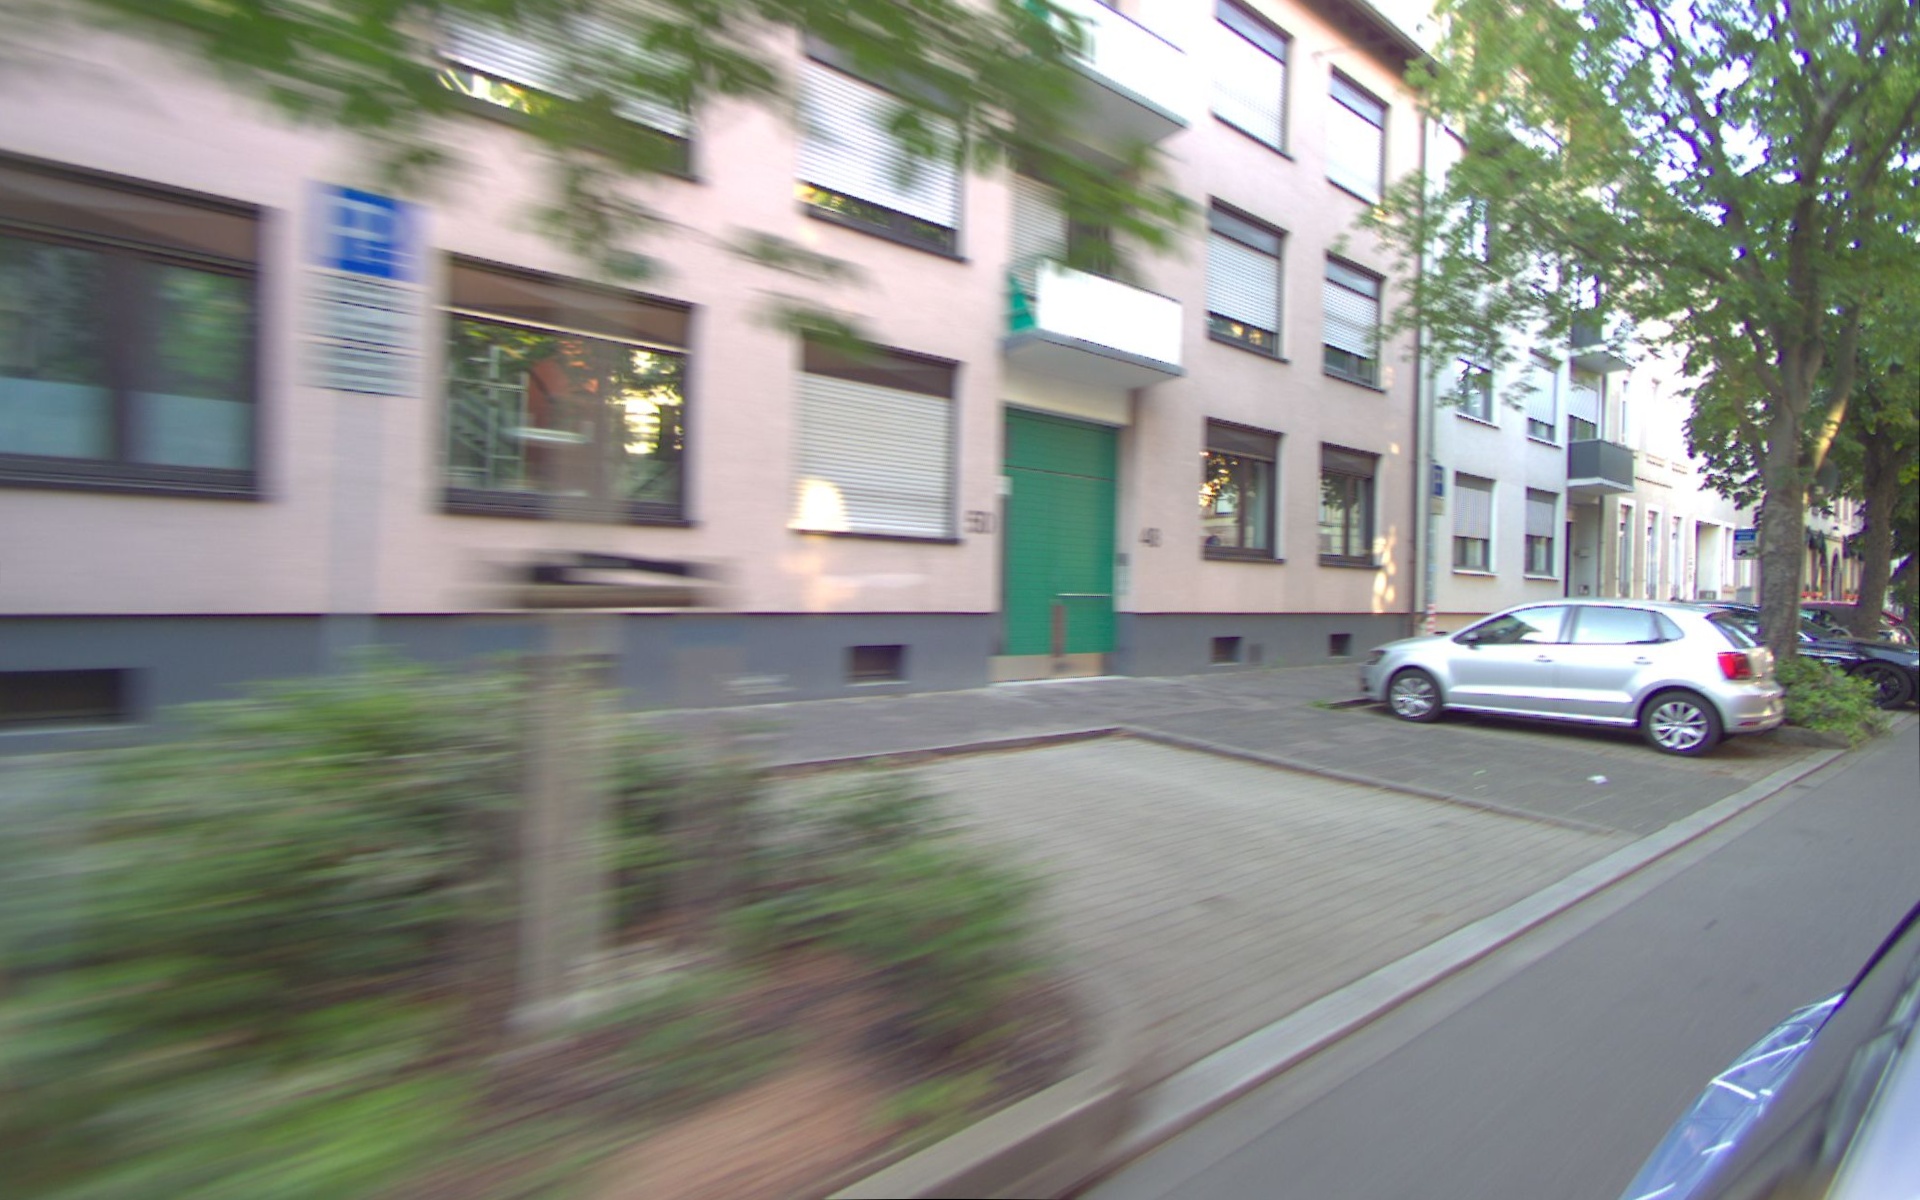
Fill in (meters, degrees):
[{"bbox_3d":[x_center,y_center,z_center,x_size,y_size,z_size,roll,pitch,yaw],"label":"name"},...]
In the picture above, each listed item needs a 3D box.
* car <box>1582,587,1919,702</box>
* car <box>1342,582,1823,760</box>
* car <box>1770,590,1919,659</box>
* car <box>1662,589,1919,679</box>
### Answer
[{"bbox_3d":[12.678,0.585,15.633,1.953,1.516,4.884,0,1,-40],"label":"car"},{"bbox_3d":[6.465,0.582,10.850,1.768,1.509,4.086,0,1,-43],"label":"car"},{"bbox_3d":[22.353,0.559,24.789,1.725,1.572,3.726,0,1,-43],"label":"car"},{"bbox_3d":[15.848,0.577,19.266,1.685,1.428,3.838,0,2,-45],"label":"car"}]
